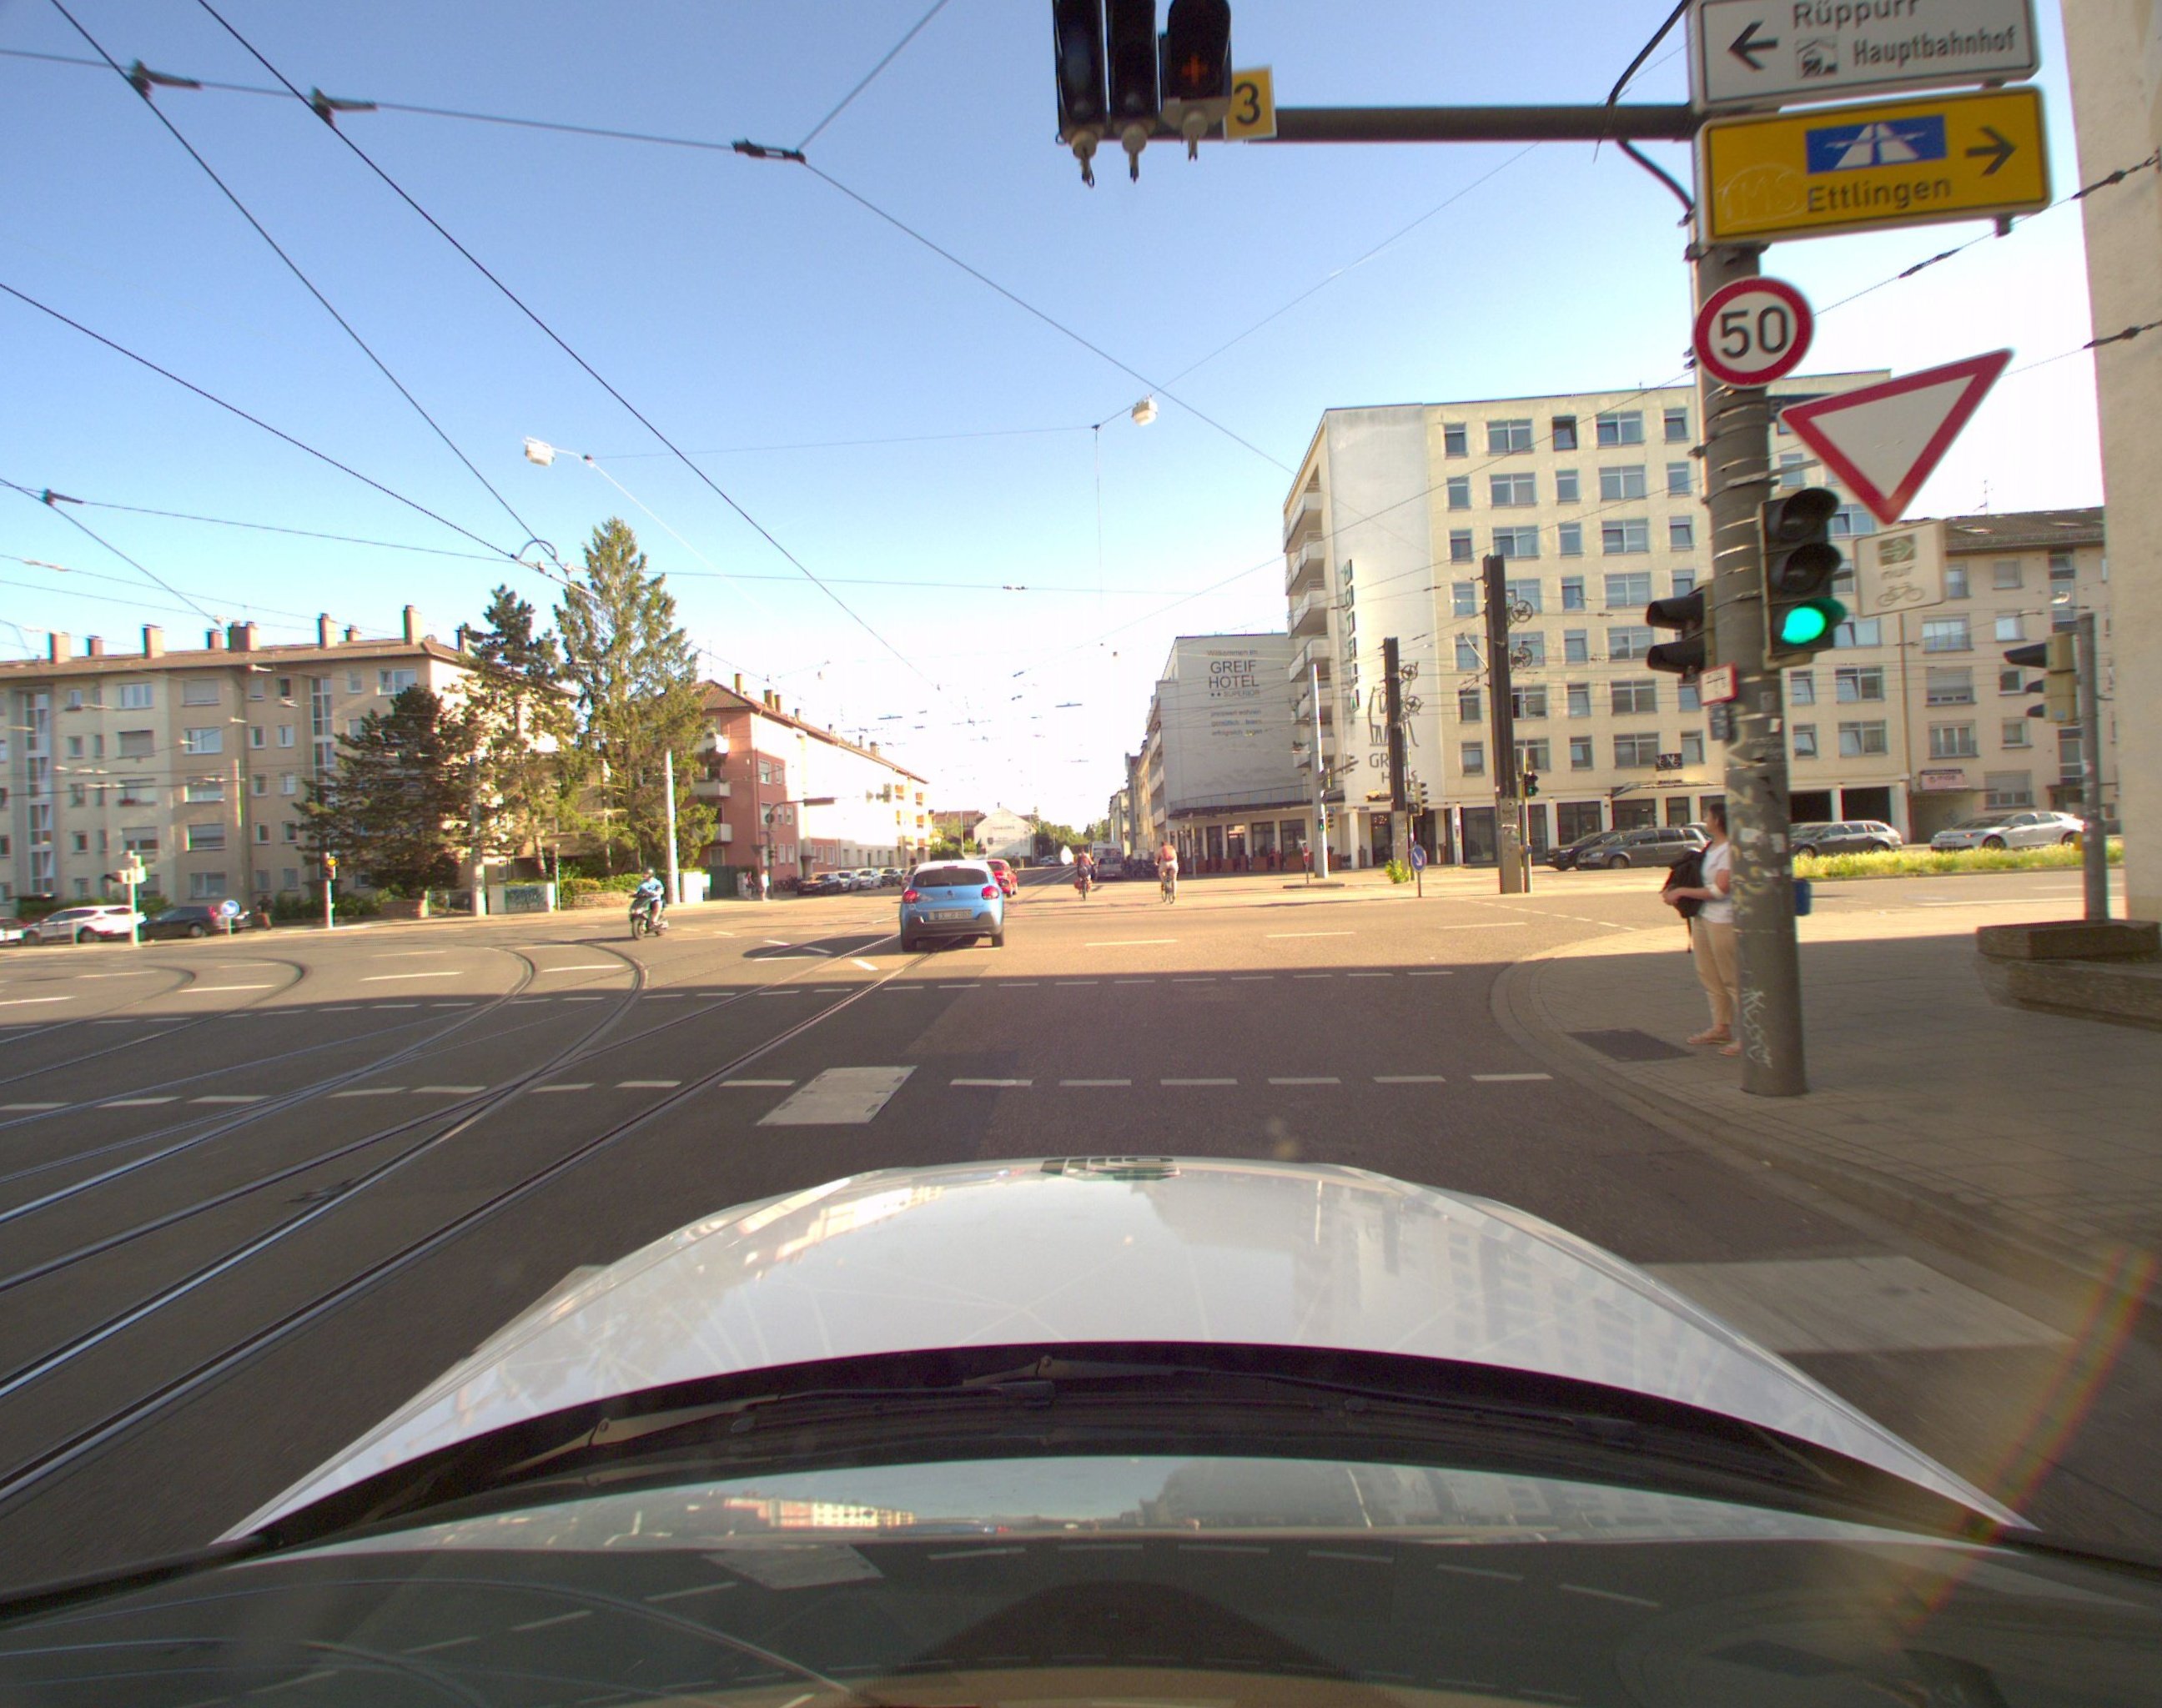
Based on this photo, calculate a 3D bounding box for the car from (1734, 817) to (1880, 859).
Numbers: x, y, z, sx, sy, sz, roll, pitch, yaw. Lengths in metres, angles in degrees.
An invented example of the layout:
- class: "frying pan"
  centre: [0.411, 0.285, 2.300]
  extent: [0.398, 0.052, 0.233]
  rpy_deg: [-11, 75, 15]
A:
- class: "car"
  centre: [30.429, -0.657, 34.228]
  extent: [4.292, 1.575, 1.990]
  rpy_deg: [-2, -1, 2]

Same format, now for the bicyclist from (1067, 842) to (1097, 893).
- class: "bicyclist"
  centre: [0.038, 0.445, 27.192]
  extent: [0.936, 1.673, 1.080]
  rpy_deg: [-1, -1, 3]

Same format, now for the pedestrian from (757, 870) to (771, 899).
- class: "pedestrian"
  centre: [-16.999, 1.622, 43.675]
  extent: [0.514, 1.568, 0.574]
  rpy_deg: [-1, -1, 1]

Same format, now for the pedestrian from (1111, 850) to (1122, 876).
- class: "pedestrian"
  centre: [2.246, 0.568, 51.328]
  extent: [0.611, 1.654, 0.671]
  rpy_deg: [-1, -1, -1]

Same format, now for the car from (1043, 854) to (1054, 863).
- class: "car"
  centre: [-6.731, 0.881, 169.974]
  extent: [2.066, 1.762, 5.038]
  rpy_deg: [-1, 0, 1]

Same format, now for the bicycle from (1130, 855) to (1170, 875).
- class: "bicycle"
  centre: [4.064, 0.636, 48.382]
  extent: [2.244, 1.001, 0.856]
  rpy_deg: [-4, -1, -1]

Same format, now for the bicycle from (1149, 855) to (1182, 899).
- class: "bicycle"
  centre: [2.403, 0.636, 22.942]
  extent: [0.806, 1.181, 2.069]
  rpy_deg: [-1, -1, 9]

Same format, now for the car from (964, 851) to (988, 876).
- class: "car"
  centre: [-13.094, 1.171, 101.570]
  extent: [2.409, 3.142, 3.490]
  rpy_deg: [-1, -1, 2]

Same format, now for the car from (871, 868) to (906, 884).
- class: "car"
  centre: [-16.163, 1.837, 68.575]
  extent: [1.940, 1.239, 4.282]
  rpy_deg: [-1, 0, 0]

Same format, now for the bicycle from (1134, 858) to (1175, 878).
- class: "bicycle"
  centre: [4.241, 0.796, 47.019]
  extent: [2.244, 1.001, 0.856]
  rpy_deg: [-4, -1, -1]

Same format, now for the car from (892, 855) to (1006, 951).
- class: "car"
  centre: [-2.252, 0.783, 14.683]
  extent: [1.734, 1.452, 3.655]
  rpy_deg: [-2, 0, -6]

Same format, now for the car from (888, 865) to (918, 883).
- class: "car"
  centre: [-16.323, 1.780, 74.803]
  extent: [1.864, 1.576, 3.998]
  rpy_deg: [-1, 0, -1]

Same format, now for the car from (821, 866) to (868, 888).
- class: "car"
  centre: [-16.503, 1.600, 57.017]
  extent: [1.896, 1.436, 4.105]
  rpy_deg: [-1, 0, 3]

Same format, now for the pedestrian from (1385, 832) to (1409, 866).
- class: "pedestrian"
  centre: [16.356, -0.243, 42.164]
  extent: [0.903, 1.746, 0.737]
  rpy_deg: [-1, -1, 1]

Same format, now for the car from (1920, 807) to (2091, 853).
- class: "car"
  centre: [34.469, -0.877, 30.448]
  extent: [4.214, 1.515, 1.845]
  rpy_deg: [-2, -1, 1]

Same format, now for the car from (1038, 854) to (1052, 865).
- class: "car"
  centre: [-6.726, 1.024, 152.401]
  extent: [2.210, 1.932, 4.951]
  rpy_deg: [-1, 0, 1]

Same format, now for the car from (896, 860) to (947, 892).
- class: "car"
  centre: [-8.125, 1.091, 41.841]
  extent: [1.773, 1.486, 3.827]
  rpy_deg: [-3, 0, 0]

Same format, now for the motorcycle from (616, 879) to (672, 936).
- class: "motorcycle"
  centre: [-10.115, 1.230, 18.919]
  extent: [0.713, 1.220, 1.954]
  rpy_deg: [-2, -2, -16]

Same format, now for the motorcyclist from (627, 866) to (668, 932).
- class: "motorcyclist"
  centre: [-10.143, 1.049, 19.086]
  extent: [0.695, 1.497, 0.680]
  rpy_deg: [-2, -2, -17]

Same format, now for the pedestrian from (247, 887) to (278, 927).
- class: "pedestrian"
  centre: [-39.255, 2.538, 39.044]
  extent: [0.774, 1.886, 0.701]
  rpy_deg: [-1, -1, 6]

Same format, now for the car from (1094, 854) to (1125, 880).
- class: "car"
  centre: [1.687, 0.768, 49.130]
  extent: [1.653, 1.431, 3.886]
  rpy_deg: [-1, 0, -2]

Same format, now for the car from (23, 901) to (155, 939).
- class: "car"
  centre: [-46.328, 3.065, 38.087]
  extent: [4.006, 1.598, 1.773]
  rpy_deg: [-1, -1, 0]

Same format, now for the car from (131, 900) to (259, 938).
- class: "car"
  centre: [-41.026, 3.001, 37.765]
  extent: [4.040, 1.628, 1.874]
  rpy_deg: [0, -1, 5]

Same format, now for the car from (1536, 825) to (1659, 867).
- class: "car"
  centre: [21.869, -0.324, 34.586]
  extent: [4.017, 1.575, 1.796]
  rpy_deg: [-2, -1, 2]

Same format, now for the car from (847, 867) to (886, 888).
- class: "car"
  centre: [-16.317, 1.745, 62.134]
  extent: [1.735, 1.526, 4.231]
  rpy_deg: [-1, 0, 1]

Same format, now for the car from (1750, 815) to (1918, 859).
- class: "car"
  centre: [28.449, -0.609, 30.892]
  extent: [4.505, 1.491, 1.826]
  rpy_deg: [-2, -1, 5]

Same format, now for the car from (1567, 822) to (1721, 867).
- class: "car"
  centre: [21.342, -0.338, 31.027]
  extent: [4.417, 1.548, 1.939]
  rpy_deg: [-2, -1, 5]

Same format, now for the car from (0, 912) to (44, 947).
- class: "car"
  centre: [-51.803, 3.564, 38.187]
  extent: [4.006, 1.478, 1.834]
  rpy_deg: [-1, -1, 0]

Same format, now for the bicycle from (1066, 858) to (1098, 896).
- class: "bicycle"
  centre: [0.052, 0.750, 27.137]
  extent: [0.936, 1.223, 2.096]
  rpy_deg: [-1, 0, 3]

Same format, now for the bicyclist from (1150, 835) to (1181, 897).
- class: "bicyclist"
  centre: [2.374, 0.340, 22.773]
  extent: [0.806, 1.692, 0.937]
  rpy_deg: [-1, -1, 9]

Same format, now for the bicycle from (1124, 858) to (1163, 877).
- class: "bicycle"
  centre: [3.777, 0.839, 49.499]
  extent: [2.244, 1.001, 0.856]
  rpy_deg: [-4, -1, -1]

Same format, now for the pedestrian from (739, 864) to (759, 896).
- class: "pedestrian"
  centre: [-18.439, 1.431, 45.207]
  extent: [0.695, 1.722, 0.789]
  rpy_deg: [-1, -1, 41]

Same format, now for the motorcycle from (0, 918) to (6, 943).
- class: "motorcycle"
  centre: [-46.317, 3.221, 33.891]
  extent: [1.932, 1.047, 0.856]
  rpy_deg: [-1, -1, -4]

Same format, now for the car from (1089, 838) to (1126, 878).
- class: "car"
  centre: [1.722, 0.279, 54.213]
  extent: [2.258, 2.482, 5.007]
  rpy_deg: [-2, 0, 0]

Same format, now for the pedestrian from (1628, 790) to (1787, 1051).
- class: "pedestrian"
  centre: [4.195, 0.430, 5.514]
  extent: [0.534, 1.623, 0.737]
  rpy_deg: [-8, -3, 26]

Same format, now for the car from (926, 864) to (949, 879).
- class: "car"
  centre: [-15.878, 1.886, 90.349]
  extent: [1.864, 1.576, 3.998]
  rpy_deg: [-1, 0, -1]

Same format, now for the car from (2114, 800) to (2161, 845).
- class: "car"
  centre: [41.645, -1.279, 29.995]
  extent: [4.597, 1.577, 1.872]
  rpy_deg: [-3, -2, 2]

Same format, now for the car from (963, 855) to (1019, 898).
- class: "car"
  centre: [-3.470, 0.844, 31.898]
  extent: [1.779, 1.521, 3.761]
  rpy_deg: [-1, 0, 0]

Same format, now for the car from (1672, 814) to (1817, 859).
- class: "car"
  centre: [31.806, -0.860, 39.163]
  extent: [5.287, 1.868, 1.951]
  rpy_deg: [-3, 2, 3]

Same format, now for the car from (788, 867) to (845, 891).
- class: "car"
  centre: [-16.691, 1.609, 51.650]
  extent: [2.147, 1.432, 4.439]
  rpy_deg: [-1, -2, 0]
